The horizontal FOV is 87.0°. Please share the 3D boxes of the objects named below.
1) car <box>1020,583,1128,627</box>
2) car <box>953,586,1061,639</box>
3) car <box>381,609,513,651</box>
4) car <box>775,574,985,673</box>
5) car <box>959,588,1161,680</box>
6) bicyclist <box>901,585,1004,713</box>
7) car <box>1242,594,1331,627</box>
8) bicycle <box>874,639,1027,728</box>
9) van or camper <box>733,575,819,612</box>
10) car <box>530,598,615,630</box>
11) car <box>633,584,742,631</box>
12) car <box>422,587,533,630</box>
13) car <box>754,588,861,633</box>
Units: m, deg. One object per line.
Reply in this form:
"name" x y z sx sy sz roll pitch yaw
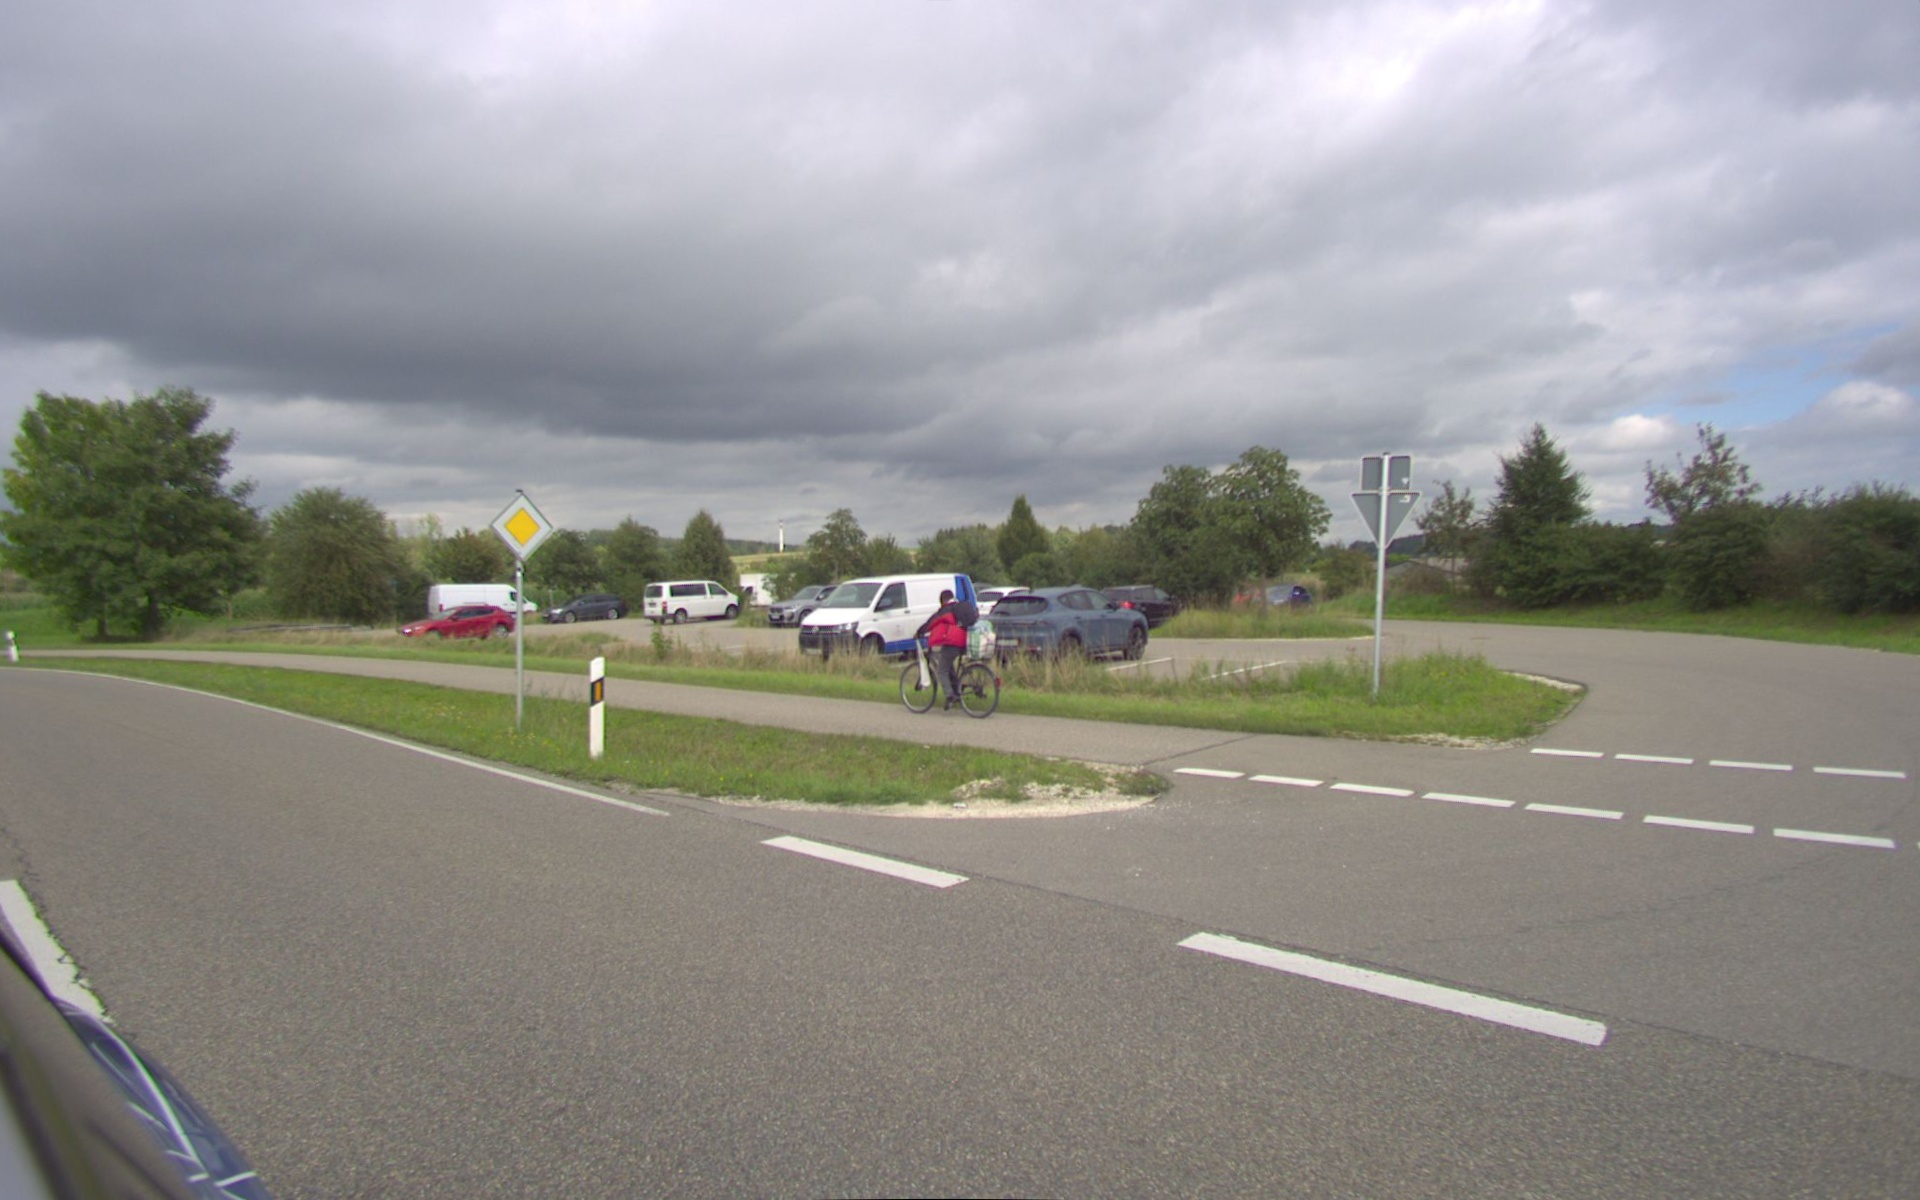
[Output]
"car" 4.439 0.173 39.439 3.729 1.537 1.782 -2 1 -18
"car" 1.696 0.409 35.077 1.960 1.563 3.955 -2 2 34
"car" -20.346 1.140 40.249 1.813 1.427 4.319 -1 1 41
"car" -1.738 0.453 23.530 2.055 2.029 4.845 -1 1 40
"car" 2.128 0.614 20.564 1.999 1.607 4.204 -1 1 41
"bicyclist" -0.106 0.619 13.331 0.821 1.577 1.056 -2 0 -45
"car" 14.665 0.452 45.386 3.933 1.398 1.743 -1 0 -35
"bicycle" -0.167 1.074 13.505 2.191 1.040 0.629 -1 0 43
"van or camper" -13.467 -0.515 74.346 2.286 2.364 5.964 -1 2 43
"car" -20.999 0.729 54.985 1.792 1.536 3.948 -1 1 39
"car" -12.953 0.335 48.404 2.059 1.940 4.636 -1 2 39
"car" -31.893 0.528 67.060 2.200 2.639 6.250 -1 1 41
"car" -6.171 0.412 41.332 1.965 1.563 3.946 -1 2 41
